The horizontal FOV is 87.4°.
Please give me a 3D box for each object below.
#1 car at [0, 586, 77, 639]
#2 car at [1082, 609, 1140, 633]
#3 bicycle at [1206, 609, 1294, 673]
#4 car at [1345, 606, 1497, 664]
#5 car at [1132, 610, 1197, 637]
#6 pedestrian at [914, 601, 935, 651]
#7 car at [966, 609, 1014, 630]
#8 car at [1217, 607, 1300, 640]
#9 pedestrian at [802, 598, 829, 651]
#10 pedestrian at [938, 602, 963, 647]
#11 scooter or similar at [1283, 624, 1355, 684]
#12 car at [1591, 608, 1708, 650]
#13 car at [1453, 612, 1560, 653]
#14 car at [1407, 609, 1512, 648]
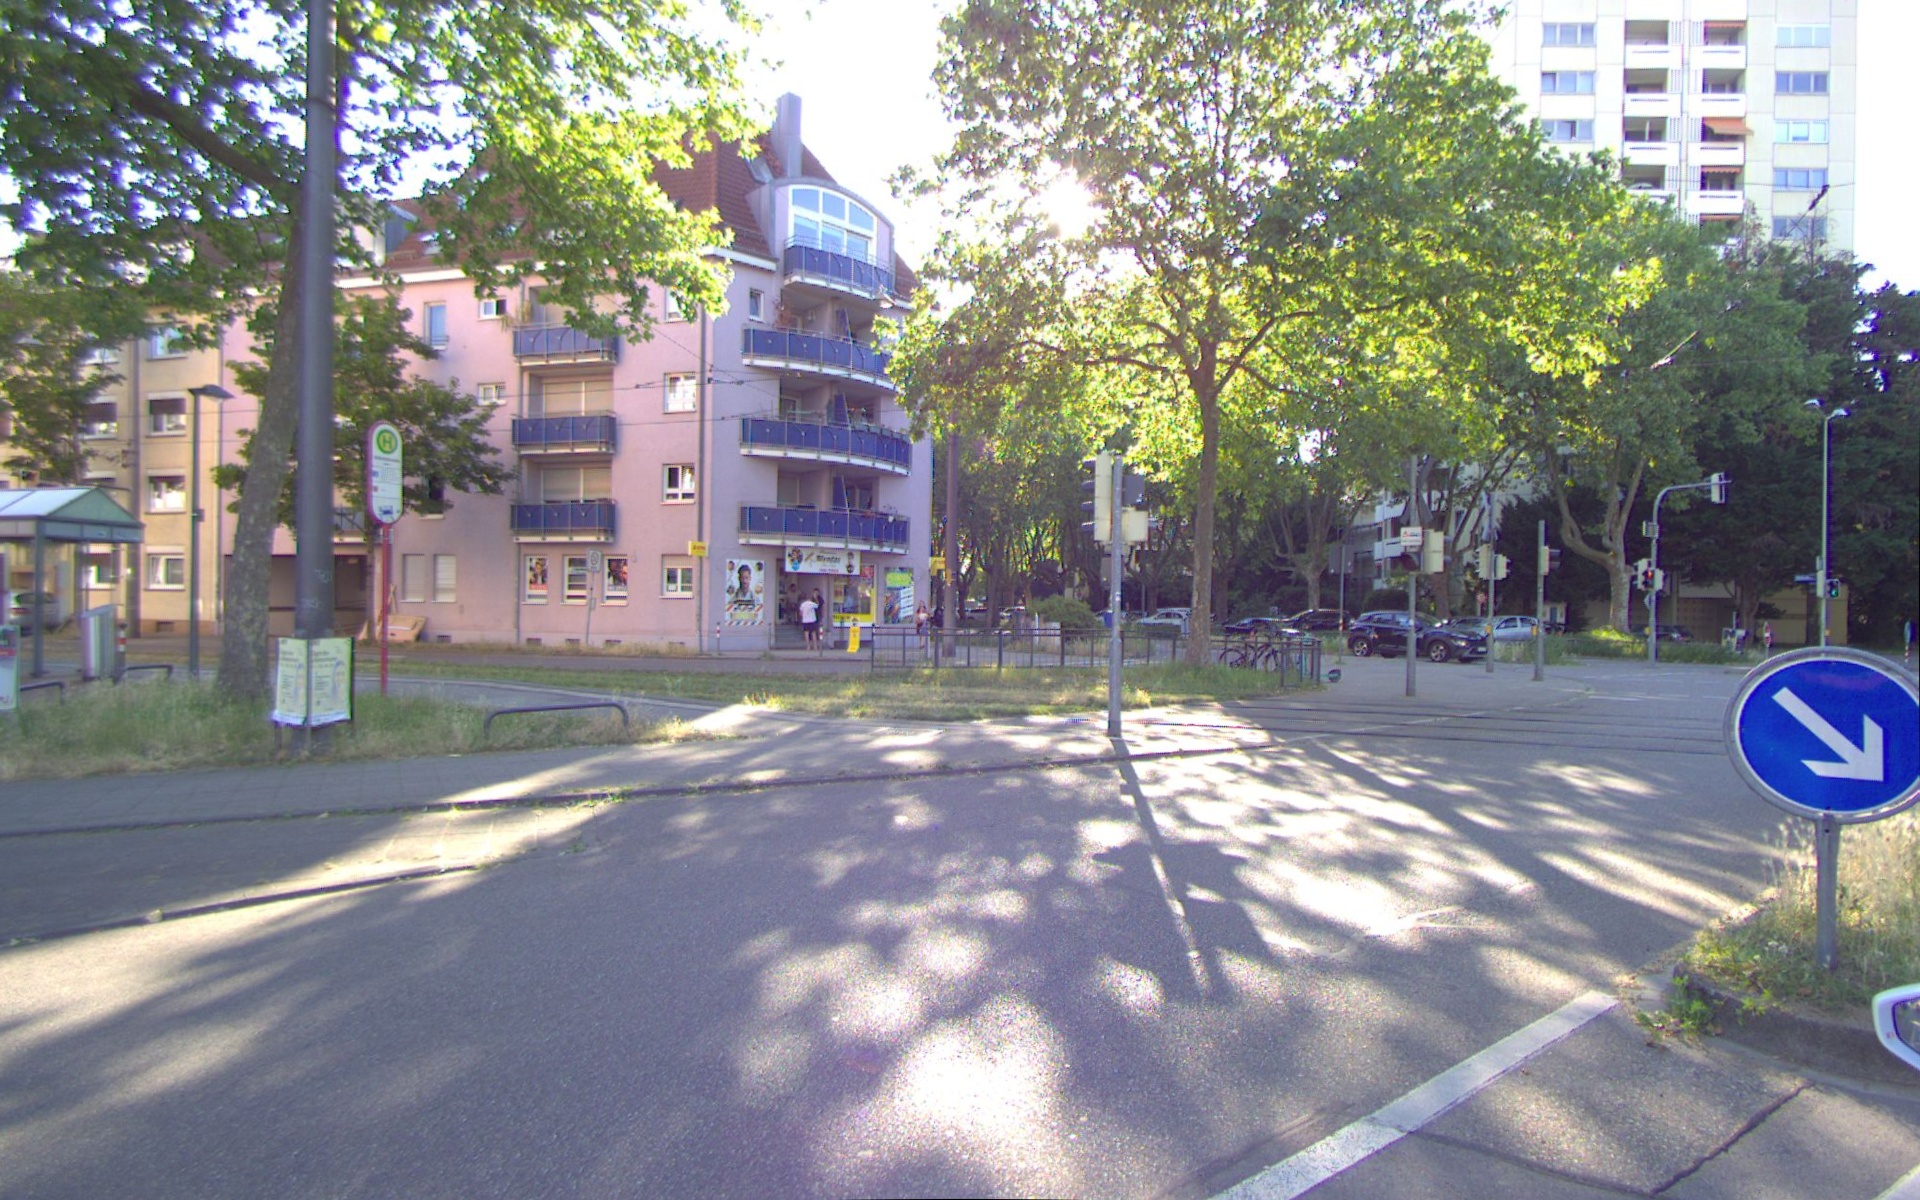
[{"bbox_3d":[-33.480,0.398,35.215,4.029,1.728,1.940,2,0,16],"label":"car"},{"bbox_3d":[11.082,1.529,73.895,3.921,1.617,1.738,2,0,0],"label":"car"},{"bbox_3d":[6.398,0.895,22.243,1.811,1.324,0.382,2,0,34],"label":"bicycle"},{"bbox_3d":[14.338,1.058,31.412,1.722,1.617,3.959,2,0,-36],"label":"car"},{"bbox_3d":[13.400,1.557,65.980,3.921,1.617,1.738,2,0,0],"label":"car"},{"bbox_3d":[-1.211,0.903,34.739,0.540,1.689,0.620,2,0,13],"label":"pedestrian"},{"bbox_3d":[2.606,1.676,86.363,3.919,1.617,1.739,2,0,9],"label":"car"},{"bbox_3d":[15.911,1.245,53.678,3.921,1.617,1.738,2,0,0],"label":"car"},{"bbox_3d":[-4.699,0.801,32.683,0.610,1.689,0.549,2,0,38],"label":"pedestrian"},{"bbox_3d":[-0.359,0.919,38.175,0.908,1.689,0.620,2,0,-1],"label":"pedestrian"},{"bbox_3d":[7.920,1.186,22.201,1.412,1.255,0.414,2,0,9],"label":"scooter or similar"},{"bbox_3d":[31.621,1.307,46.199,1.971,1.798,3.979,2,0,-22],"label":"car"},{"bbox_3d":[23.879,1.414,43.979,3.732,1.617,1.738,2,0,0],"label":"car"},{"bbox_3d":[22.839,1.301,46.010,3.921,1.617,1.738,2,0,0],"label":"car"}]
